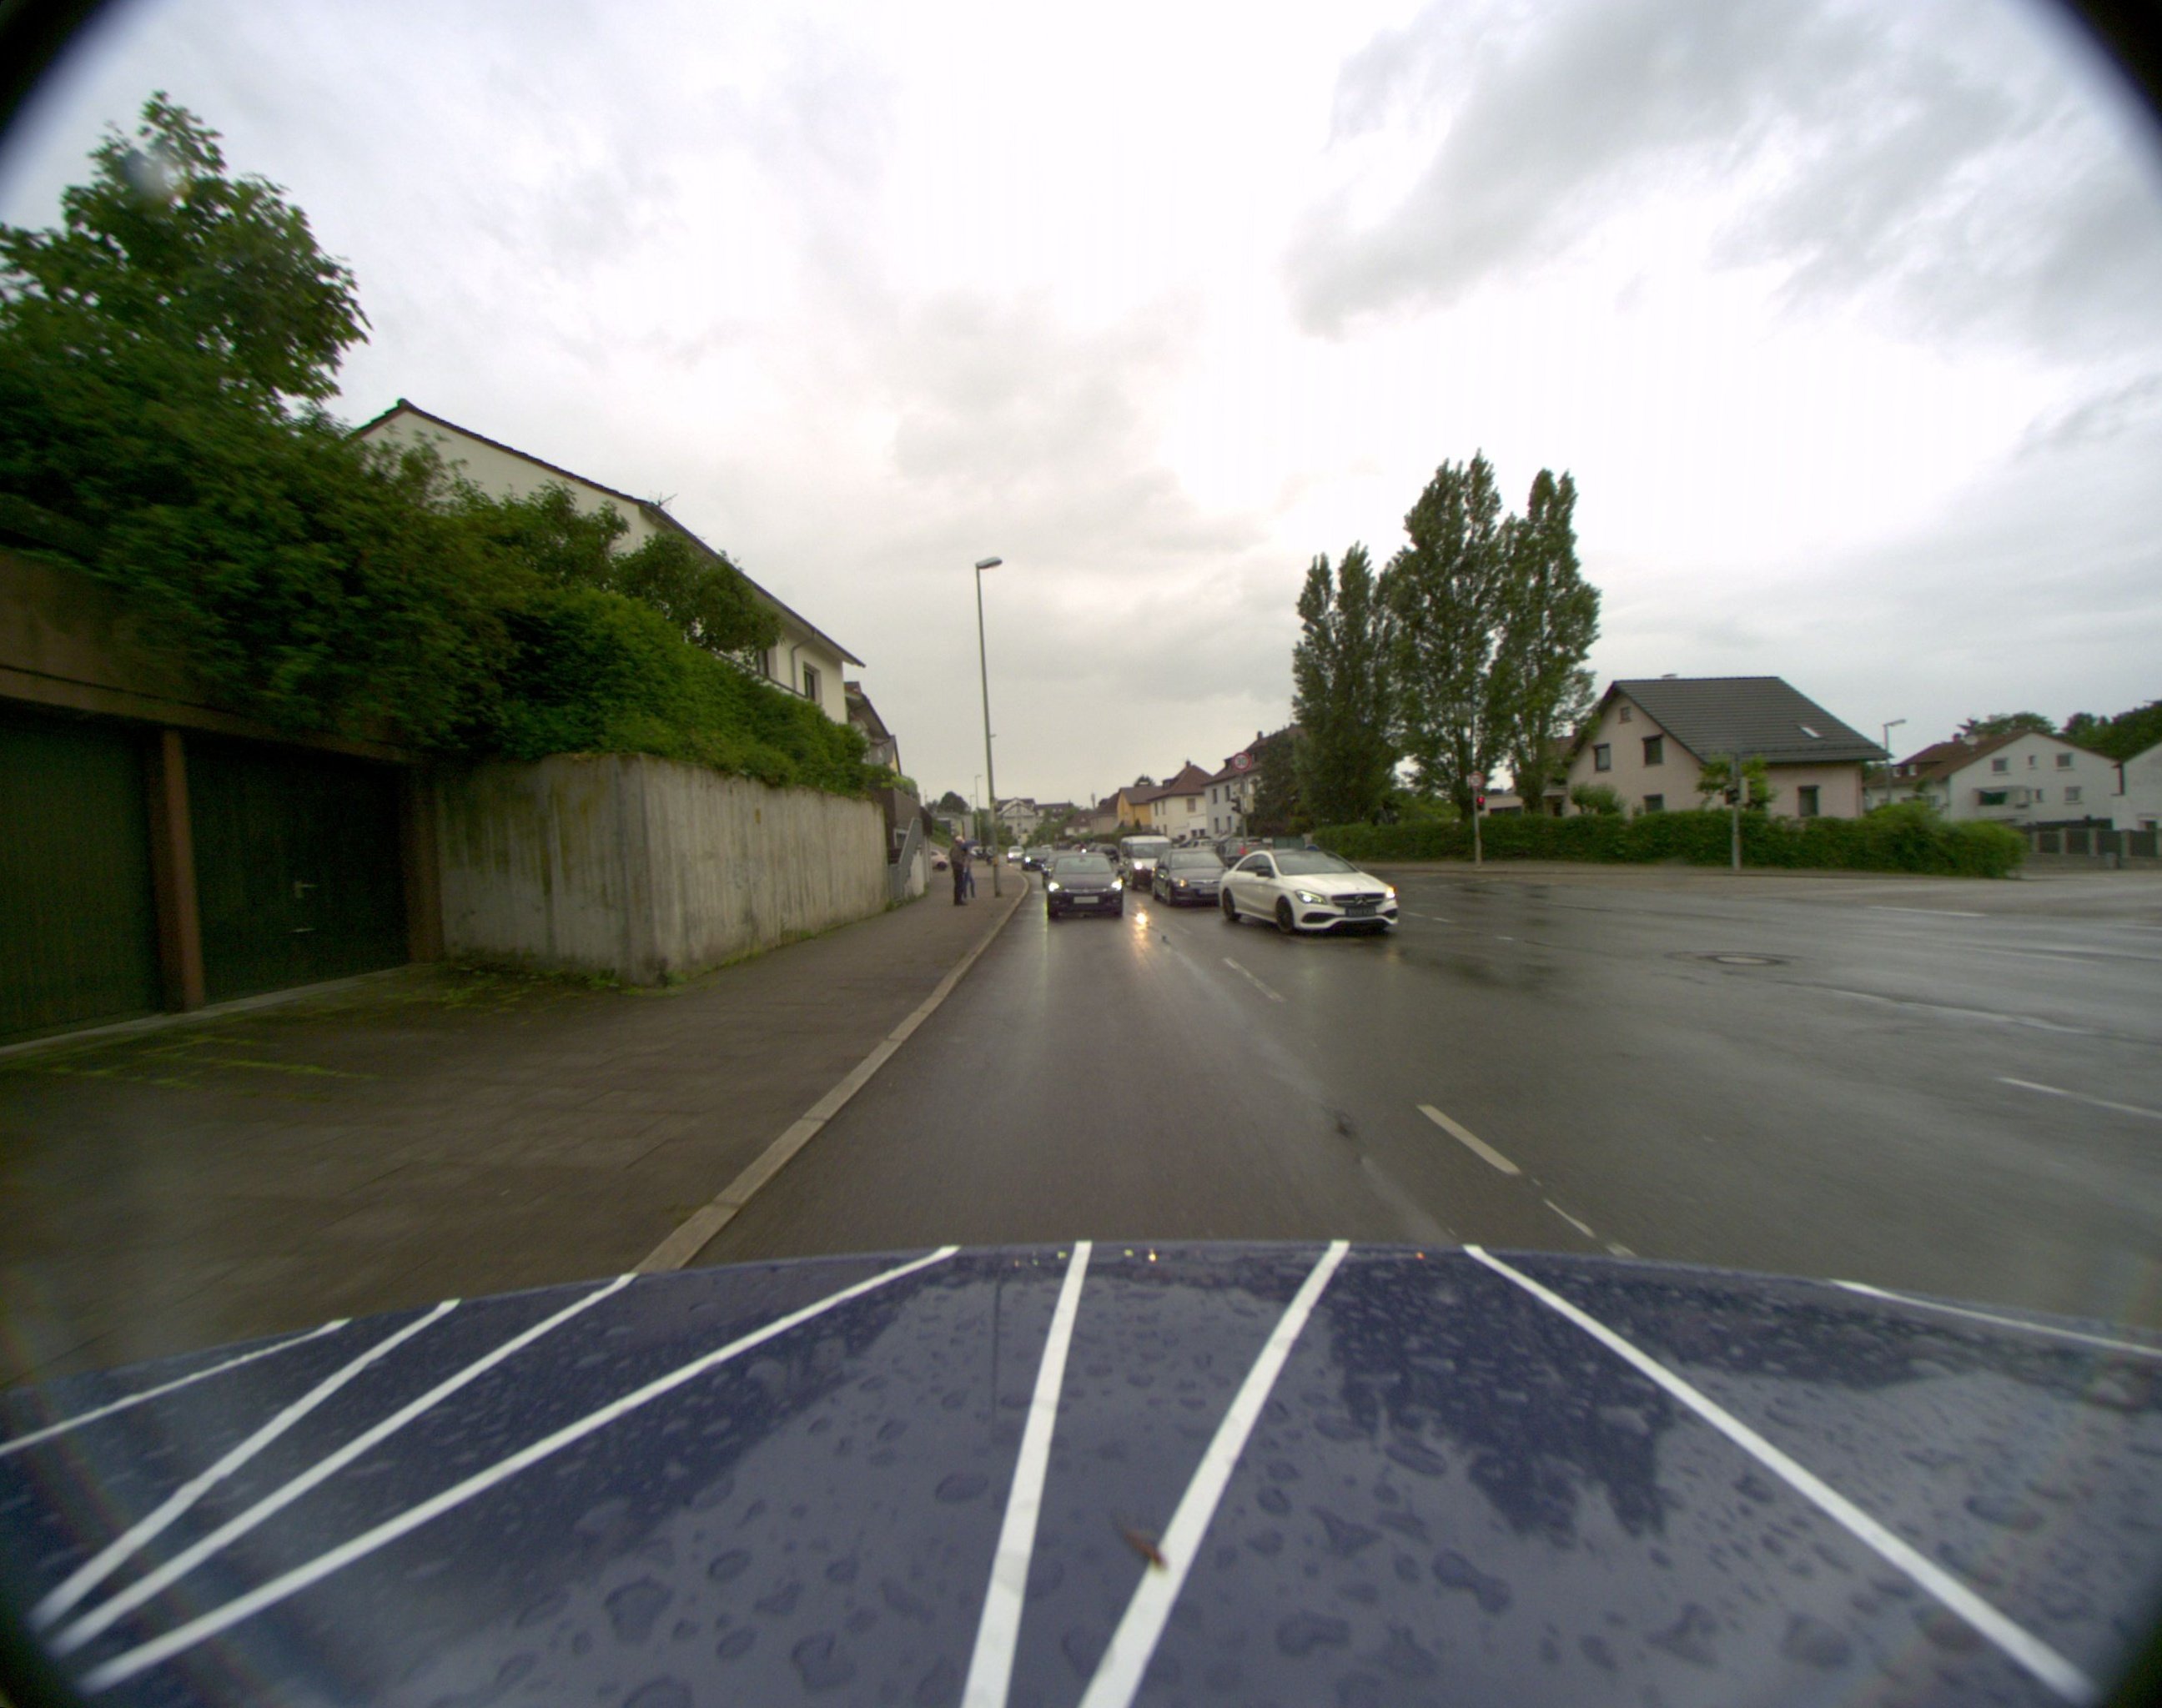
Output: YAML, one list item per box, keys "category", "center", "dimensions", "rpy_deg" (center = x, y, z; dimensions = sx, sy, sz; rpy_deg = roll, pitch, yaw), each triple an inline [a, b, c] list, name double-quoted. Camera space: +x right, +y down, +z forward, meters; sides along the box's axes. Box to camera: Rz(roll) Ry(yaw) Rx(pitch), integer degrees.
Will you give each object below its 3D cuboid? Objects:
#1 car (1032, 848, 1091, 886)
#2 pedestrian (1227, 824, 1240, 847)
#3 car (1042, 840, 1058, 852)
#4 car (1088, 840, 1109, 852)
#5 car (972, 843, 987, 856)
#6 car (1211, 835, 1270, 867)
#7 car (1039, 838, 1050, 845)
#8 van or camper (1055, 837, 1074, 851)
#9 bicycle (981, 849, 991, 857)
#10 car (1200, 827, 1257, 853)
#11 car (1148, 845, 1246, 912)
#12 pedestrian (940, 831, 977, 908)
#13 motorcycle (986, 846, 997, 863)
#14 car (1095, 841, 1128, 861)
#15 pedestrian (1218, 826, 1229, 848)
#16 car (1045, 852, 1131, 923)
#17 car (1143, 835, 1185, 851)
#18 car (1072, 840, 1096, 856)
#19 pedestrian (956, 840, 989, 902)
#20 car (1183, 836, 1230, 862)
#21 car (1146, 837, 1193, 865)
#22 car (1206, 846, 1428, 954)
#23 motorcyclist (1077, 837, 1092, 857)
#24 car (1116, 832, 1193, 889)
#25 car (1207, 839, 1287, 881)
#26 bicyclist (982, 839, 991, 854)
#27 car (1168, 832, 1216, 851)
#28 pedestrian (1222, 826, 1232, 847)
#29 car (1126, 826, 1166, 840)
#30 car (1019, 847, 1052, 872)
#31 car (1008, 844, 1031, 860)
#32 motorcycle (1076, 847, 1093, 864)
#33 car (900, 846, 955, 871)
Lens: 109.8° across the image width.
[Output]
- category: "car"
  center: [-0.909, 0.470, 32.038]
  dimensions: [1.911, 1.390, 4.852]
  rpy_deg: [-2, 1, -8]
- category: "pedestrian"
  center: [13.104, -1.602, 65.316]
  dimensions: [0.734, 1.857, 0.686]
  rpy_deg: [-6, 2, -2]
- category: "car"
  center: [-4.304, -1.118, 105.379]
  dimensions: [1.838, 1.521, 3.996]
  rpy_deg: [-2, 1, -8]
- category: "car"
  center: [2.061, -0.967, 90.066]
  dimensions: [1.810, 1.408, 3.996]
  rpy_deg: [-2, 1, -8]
- category: "car"
  center: [-13.033, -0.578, 97.440]
  dimensions: [1.738, 1.481, 3.996]
  rpy_deg: [-2, 1, -8]
- category: "car"
  center: [8.940, -0.215, 43.095]
  dimensions: [1.810, 1.660, 4.594]
  rpy_deg: [-2, 2, -8]
- category: "car"
  center: [-8.299, -2.778, 171.304]
  dimensions: [2.000, 1.565, 3.996]
  rpy_deg: [-2, 2, -8]
- category: "van or camper"
  center: [-2.554, -1.493, 115.662]
  dimensions: [2.191, 2.002, 5.128]
  rpy_deg: [-2, 2, -9]
- category: "bicycle"
  center: [-10.623, -0.107, 85.078]
  dimensions: [0.733, 0.822, 2.234]
  rpy_deg: [-2, 1, 2]
- category: "car"
  center: [11.880, -1.117, 61.522]
  dimensions: [3.999, 1.556, 1.871]
  rpy_deg: [-7, 1, -7]
- category: "car"
  center: [2.961, 0.566, 20.280]
  dimensions: [1.840, 1.479, 4.057]
  rpy_deg: [-2, 1, -2]
- category: "pedestrian"
  center: [-3.280, 0.406, 20.408]
  dimensions: [0.799, 2.002, 0.734]
  rpy_deg: [-3, 2, -2]
- category: "motorcycle"
  center: [-7.479, 0.012, 63.481]
  dimensions: [0.694, 1.317, 2.476]
  rpy_deg: [-2, 1, -9]
- category: "car"
  center: [2.444, -0.240, 61.774]
  dimensions: [1.859, 1.456, 3.996]
  rpy_deg: [-3, 1, -9]
- category: "pedestrian"
  center: [12.317, -1.482, 65.875]
  dimensions: [0.670, 1.779, 0.539]
  rpy_deg: [-6, 2, -4]
- category: "car"
  center: [0.198, 0.726, 18.619]
  dimensions: [1.840, 1.390, 3.999]
  rpy_deg: [-2, 2, 1]
- category: "car"
  center: [8.893, -1.194, 81.424]
  dimensions: [4.111, 1.412, 1.882]
  rpy_deg: [-4, 2, -8]
- category: "car"
  center: [0.256, -0.630, 75.248]
  dimensions: [1.717, 1.494, 3.996]
  rpy_deg: [-2, 2, -9]
- category: "pedestrian"
  center: [-3.169, 0.471, 22.256]
  dimensions: [0.796, 1.770, 1.011]
  rpy_deg: [-1, 2, -2]
- category: "car"
  center: [8.085, -0.372, 49.277]
  dimensions: [1.810, 1.560, 4.139]
  rpy_deg: [-2, 2, -8]
- category: "car"
  center: [5.330, -0.232, 46.551]
  dimensions: [1.841, 1.547, 4.766]
  rpy_deg: [-2, 2, -6]
- category: "car"
  center: [4.004, 0.675, 13.866]
  dimensions: [1.914, 1.520, 4.646]
  rpy_deg: [-2, 1, -10]
- category: "motorcyclist"
  center: [0.236, -0.506, 55.323]
  dimensions: [0.953, 1.414, 0.992]
  rpy_deg: [-2, 2, -6]
- category: "car"
  center: [2.588, 0.174, 27.767]
  dimensions: [1.957, 1.860, 4.743]
  rpy_deg: [-2, 1, -4]
- category: "car"
  center: [6.897, 0.205, 31.985]
  dimensions: [2.000, 1.565, 3.996]
  rpy_deg: [-2, 2, -8]
- category: "bicyclist"
  center: [-10.635, -0.872, 85.179]
  dimensions: [0.809, 1.633, 0.906]
  rpy_deg: [-2, 2, 1]
- category: "car"
  center: [10.422, -1.154, 71.378]
  dimensions: [3.999, 1.412, 1.882]
  rpy_deg: [-5, 2, -8]
- category: "pedestrian"
  center: [13.100, -1.555, 68.082]
  dimensions: [0.652, 1.777, 0.648]
  rpy_deg: [-5, 1, 16]
- category: "car"
  center: [7.458, -2.374, 87.191]
  dimensions: [4.115, 1.475, 1.838]
  rpy_deg: [1, 0, -15]
- category: "car"
  center: [-3.087, 0.418, 50.849]
  dimensions: [1.842, 1.448, 3.999]
  rpy_deg: [-2, -3, -8]
- category: "car"
  center: [-6.104, -0.145, 74.867]
  dimensions: [1.842, 1.473, 3.996]
  rpy_deg: [-2, 0, -10]
- category: "motorcycle"
  center: [0.265, 0.106, 55.331]
  dimensions: [0.944, 1.101, 2.404]
  rpy_deg: [-2, 2, -6]
- category: "car"
  center: [-10.687, 0.306, 52.814]
  dimensions: [3.644, 1.477, 1.810]
  rpy_deg: [-3, 2, -13]
